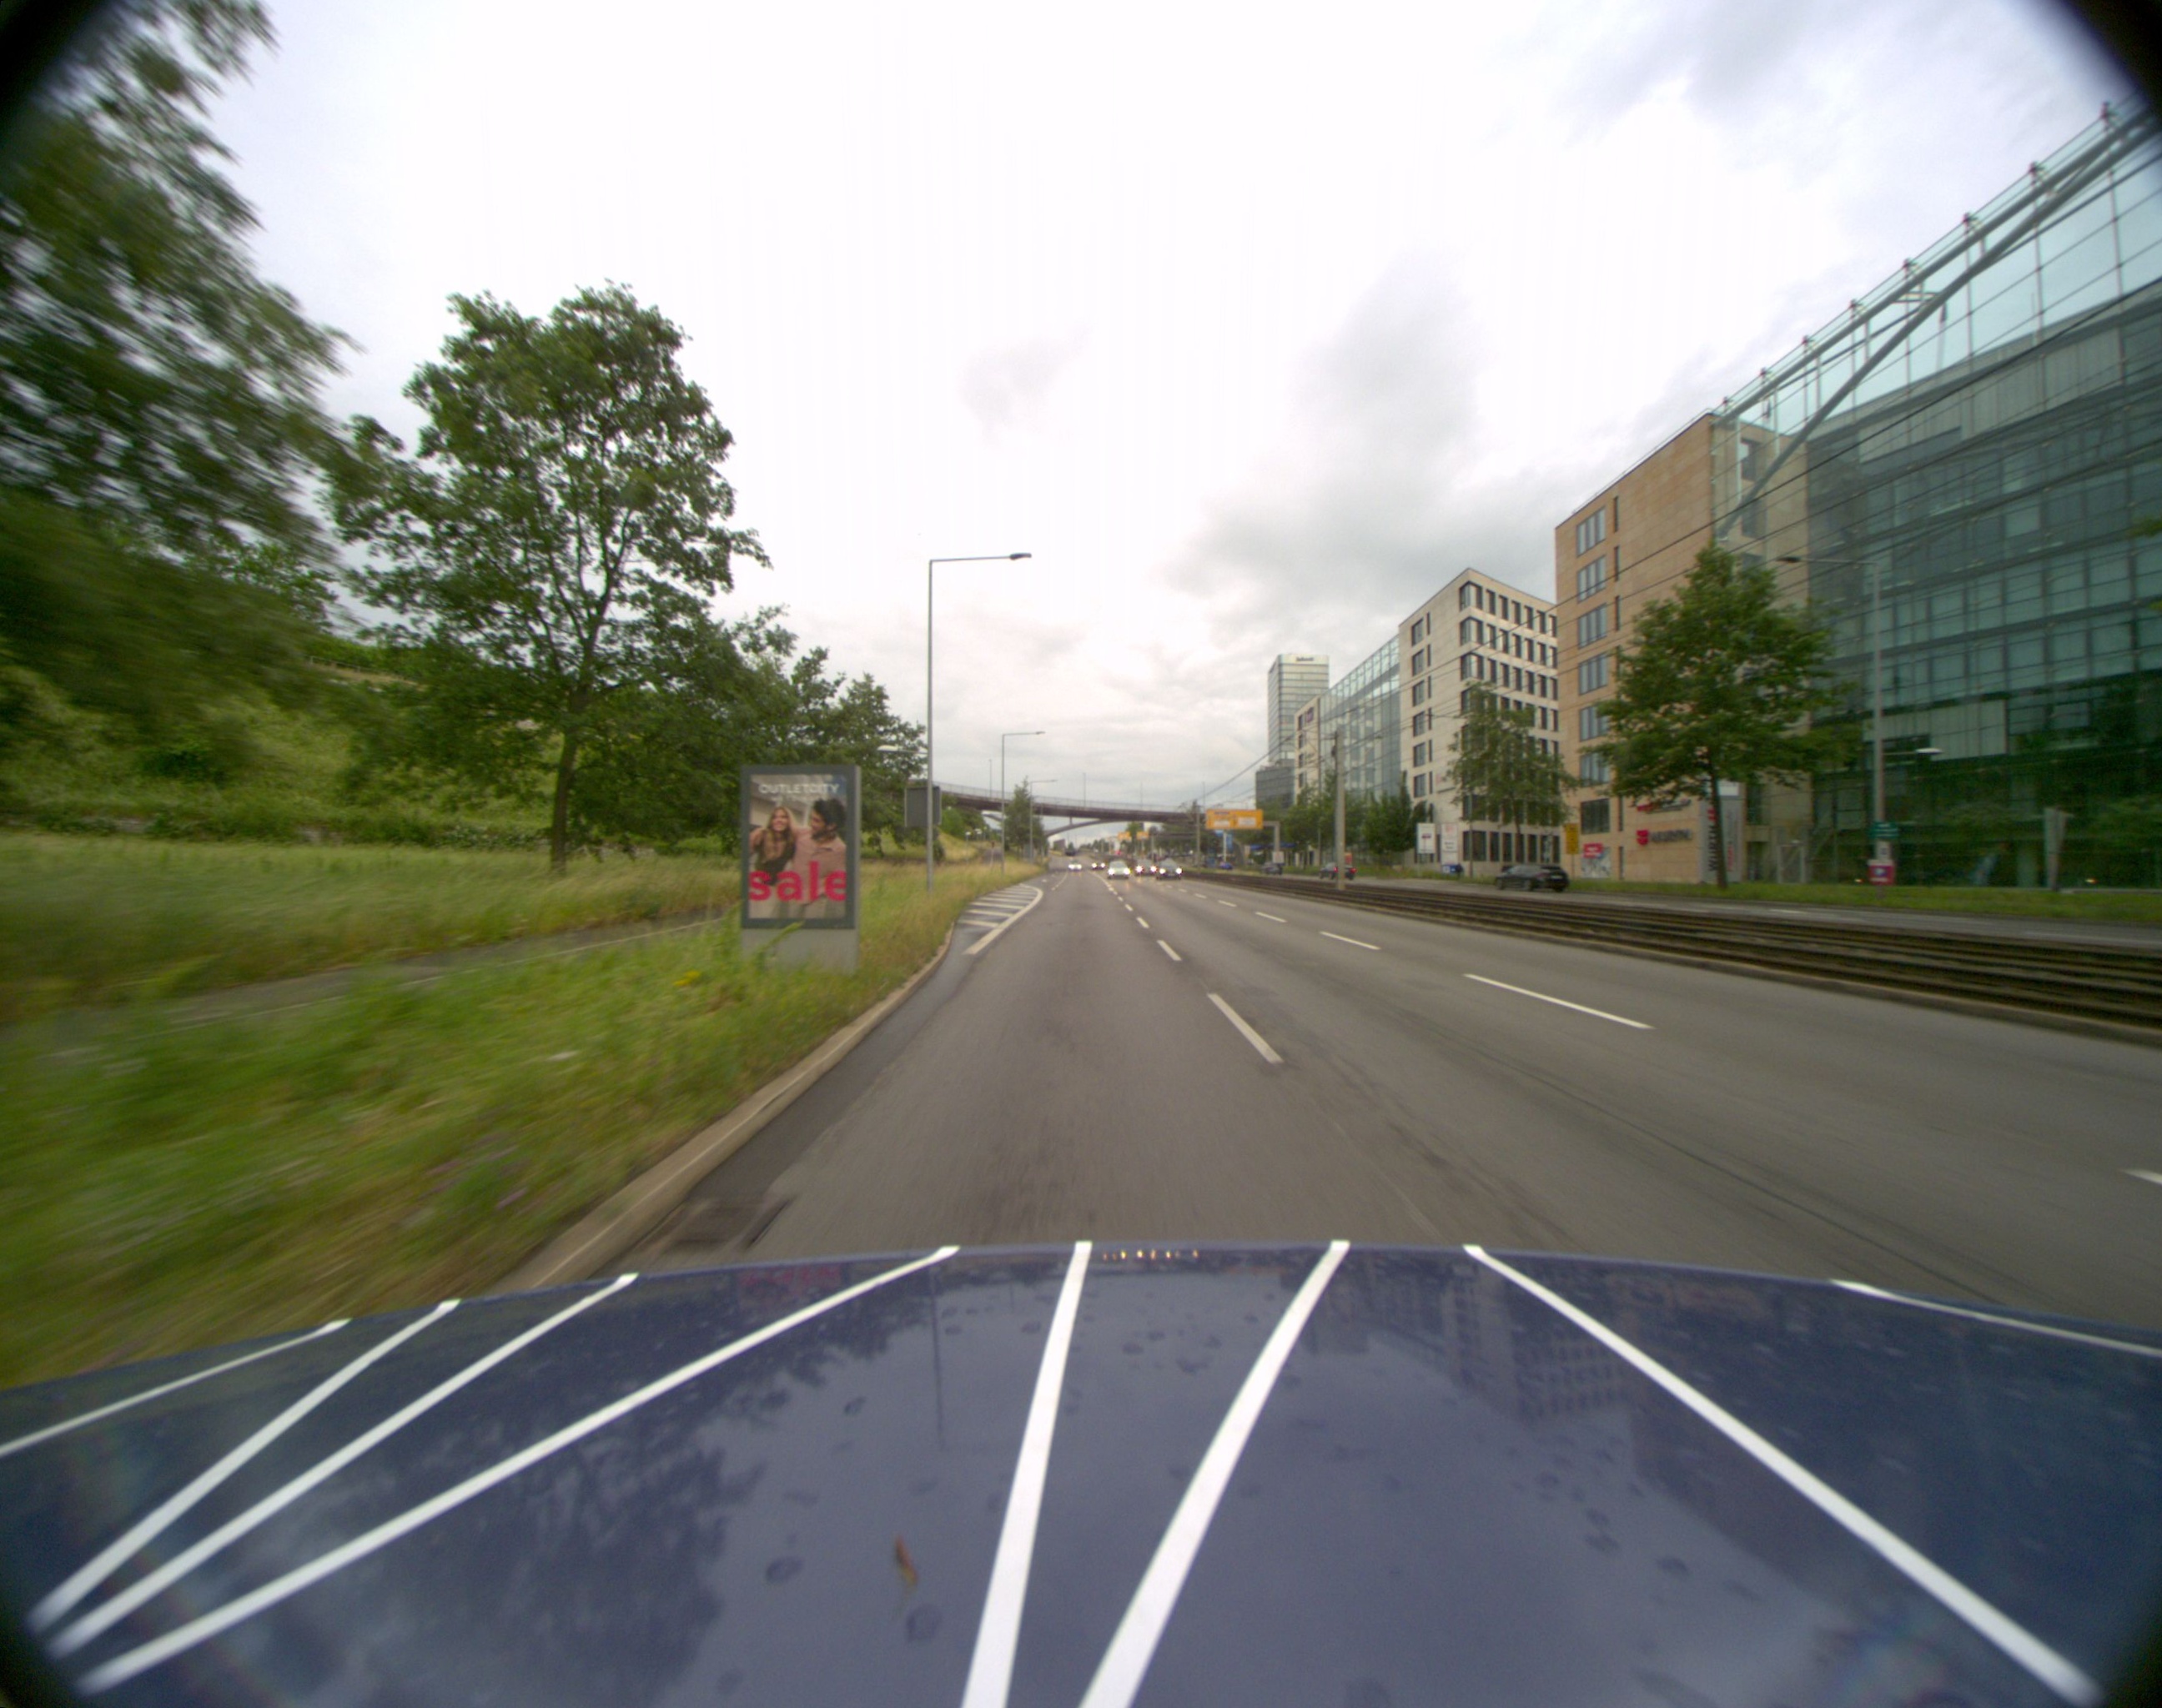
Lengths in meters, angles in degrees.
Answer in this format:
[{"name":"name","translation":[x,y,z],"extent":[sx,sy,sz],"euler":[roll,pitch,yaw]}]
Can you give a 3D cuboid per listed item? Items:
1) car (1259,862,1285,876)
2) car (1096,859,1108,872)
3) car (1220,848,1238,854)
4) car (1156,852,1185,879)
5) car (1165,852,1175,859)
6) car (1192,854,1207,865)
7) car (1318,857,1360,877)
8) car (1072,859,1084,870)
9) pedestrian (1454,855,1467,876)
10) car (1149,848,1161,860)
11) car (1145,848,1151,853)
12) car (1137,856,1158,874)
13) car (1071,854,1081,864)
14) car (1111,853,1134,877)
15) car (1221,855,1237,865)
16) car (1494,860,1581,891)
[{"name":"car","translation":[21.912,1.675,87.270],"extent":[1.845,1.477,4.654],"euler":[2,0,1]},{"name":"car","translation":[3.417,1.870,124.068],"extent":[1.794,1.858,4.376],"euler":[-2,2,1]},{"name":"car","translation":[37.522,-0.795,192.710],"extent":[4.363,1.495,1.885],"euler":[-2,2,2]},{"name":"car","translation":[6.985,0.892,59.631],"extent":[1.794,1.858,4.376],"euler":[-2,2,1]},{"name":"car","translation":[20.653,0.331,177.149],"extent":[1.764,1.524,4.817],"euler":[-2,0,0]},{"name":"car","translation":[18.220,0.803,117.077],"extent":[1.776,1.493,4.199],"euler":[-2,2,2]},{"name":"car","translation":[21.028,1.042,62.097],"extent":[1.845,1.477,4.654],"euler":[2,0,1]},{"name":"car","translation":[-0.536,1.706,124.567],"extent":[1.794,1.621,4.376],"euler":[-2,2,1]},{"name":"pedestrian","translation":[31.261,0.954,62.551],"extent":[0.643,1.622,0.831],"euler":[-2,2,-2]},{"name":"car","translation":[17.977,0.033,184.547],"extent":[2.389,2.801,5.610],"euler":[-2,0,0]},{"name":"car","translation":[22.489,-1.294,255.532],"extent":[1.814,1.524,4.274],"euler":[-2,0,0]},{"name":"car","translation":[6.547,1.052,75.270],"extent":[1.794,1.535,4.376],"euler":[-2,2,1]},{"name":"car","translation":[-0.988,0.914,143.862],"extent":[1.794,1.621,4.375],"euler":[-2,2,-2]},{"name":"car","translation":[3.561,0.938,66.222],"extent":[1.794,1.858,4.376],"euler":[-2,2,1]},{"name":"car","translation":[24.691,0.978,127.098],"extent":[1.845,1.446,4.023],"euler":[-2,2,1]},{"name":"car","translation":[23.643,1.075,39.572],"extent":[1.845,1.477,4.430],"euler":[2,0,1]}]
